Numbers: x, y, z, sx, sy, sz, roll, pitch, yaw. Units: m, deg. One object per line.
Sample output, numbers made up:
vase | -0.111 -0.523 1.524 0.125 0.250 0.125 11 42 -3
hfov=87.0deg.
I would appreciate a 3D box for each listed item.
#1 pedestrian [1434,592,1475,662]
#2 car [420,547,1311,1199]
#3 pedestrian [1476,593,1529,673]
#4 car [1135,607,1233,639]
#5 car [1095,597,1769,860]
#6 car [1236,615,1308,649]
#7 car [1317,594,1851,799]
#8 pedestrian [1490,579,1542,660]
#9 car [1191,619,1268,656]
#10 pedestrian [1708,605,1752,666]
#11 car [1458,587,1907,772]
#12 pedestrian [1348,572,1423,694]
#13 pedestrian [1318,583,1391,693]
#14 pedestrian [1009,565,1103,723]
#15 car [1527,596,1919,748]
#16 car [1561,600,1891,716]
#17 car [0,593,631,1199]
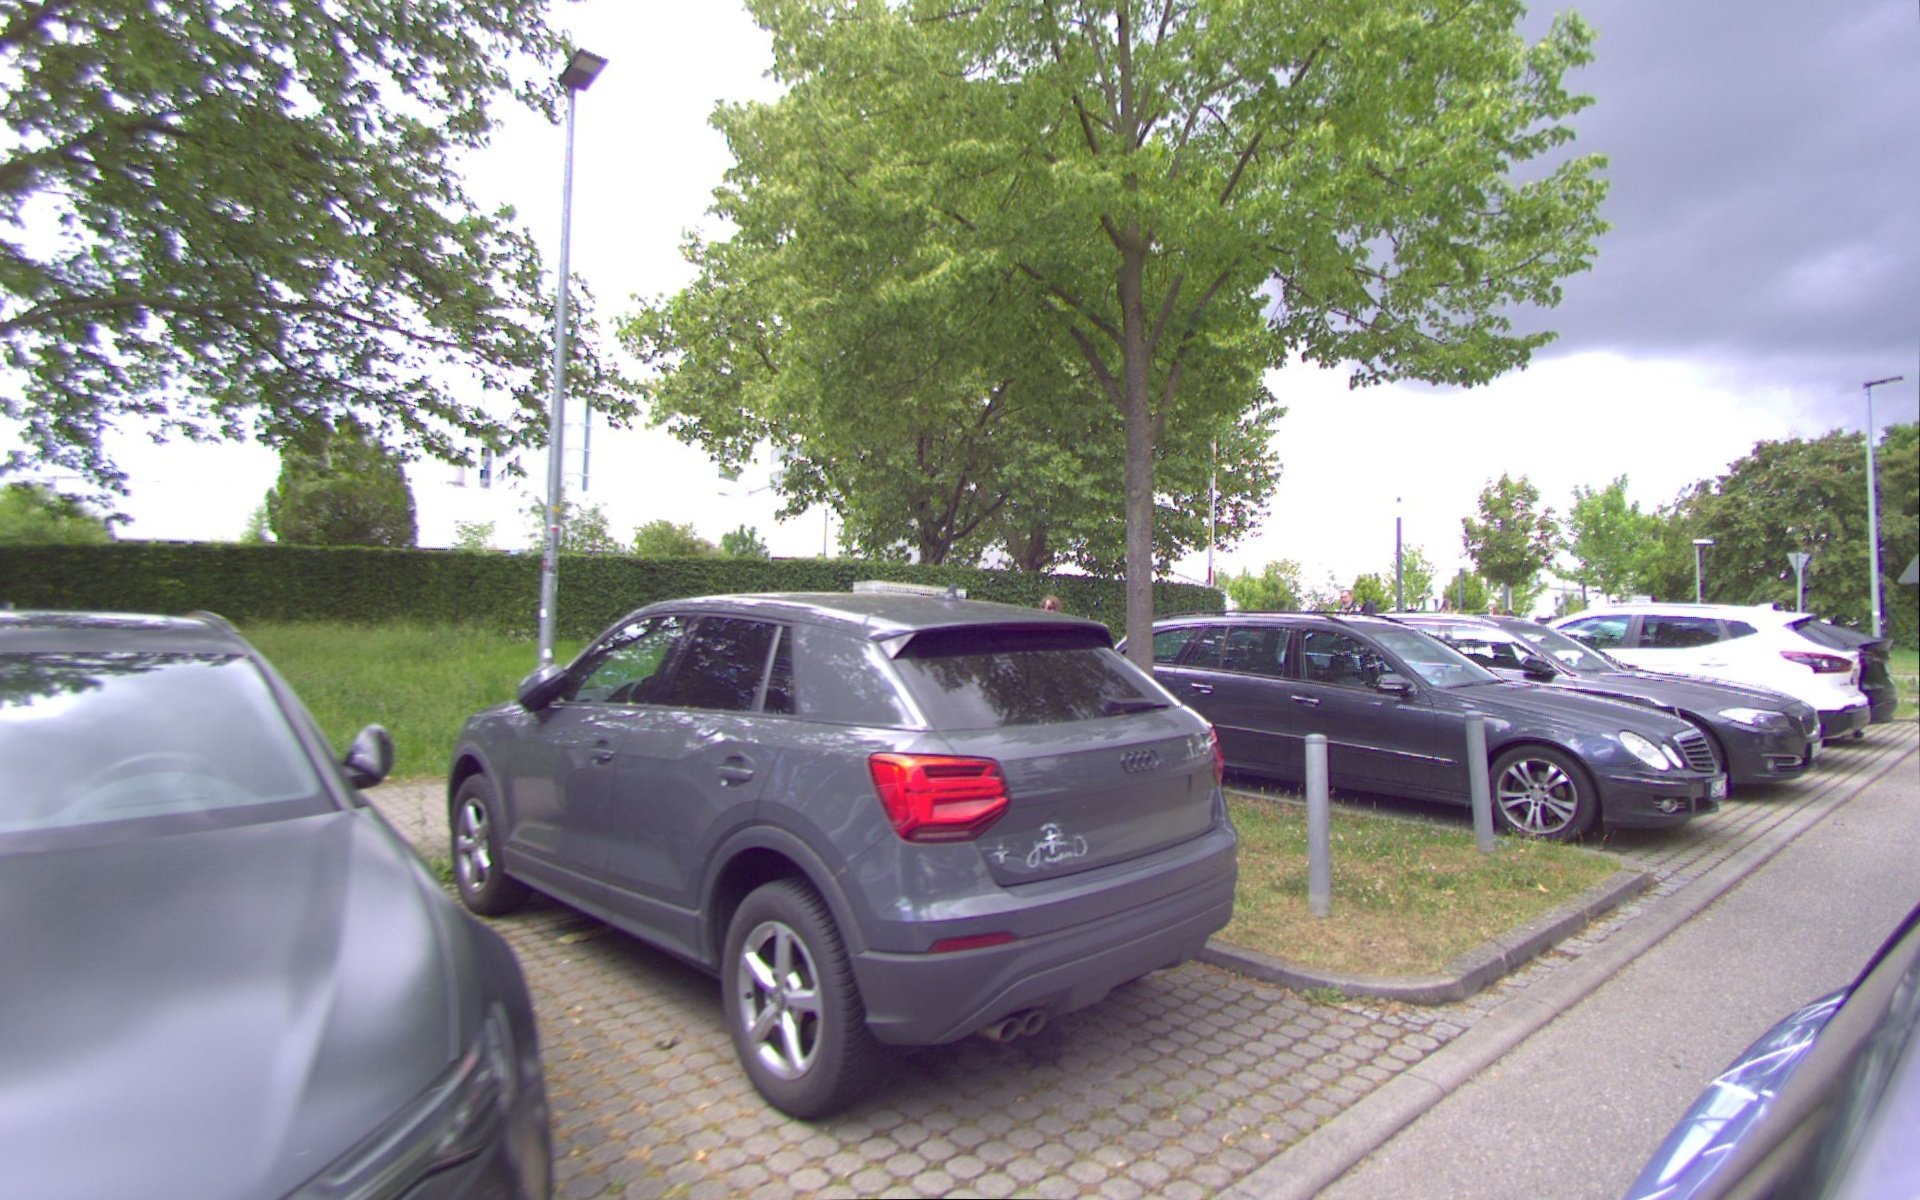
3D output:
pedestrian | 12.596 0.689 25.799 0.692 1.733 0.656 2 -3 -34
car | -0.723 0.618 4.412 1.880 1.539 3.827 1 0 -44
pedestrian | 11.454 0.693 21.365 0.915 1.642 0.688 2 -3 -40
car | 10.273 1.059 46.429 4.082 1.409 1.691 -1 -2 30
car | 3.469 0.746 8.178 1.919 1.511 4.580 1 -1 -43
car | 18.937 1.951 61.443 3.956 2.040 1.983 -1 -2 25
car | 5.758 0.774 9.732 1.851 1.538 3.992 1 -2 -41
pedestrian | 10.487 0.367 19.094 0.722 1.488 0.619 2 -3 -40
car | 15.371 2.101 57.716 3.956 2.040 1.983 -1 -2 25
pedestrian | 22.470 1.029 29.555 0.753 1.744 0.880 -1 -2 21
car | 7.773 0.733 11.165 1.818 1.668 3.679 2 -1 -38
pedestrian | 6.567 0.502 15.622 0.862 1.816 0.741 2 -3 -40
pedestrian | 6.742 0.642 17.306 0.862 1.816 0.832 2 -3 -40
pedestrian | 1.153 0.521 12.181 0.862 1.816 0.741 2 -3 -40
car | 9.355 0.771 12.590 1.564 1.594 3.679 0 0 -38
car | 11.390 0.794 15.261 1.615 1.517 3.679 2 -2 -38
car | -2.511 0.702 2.593 1.811 1.388 3.831 1 0 -41
